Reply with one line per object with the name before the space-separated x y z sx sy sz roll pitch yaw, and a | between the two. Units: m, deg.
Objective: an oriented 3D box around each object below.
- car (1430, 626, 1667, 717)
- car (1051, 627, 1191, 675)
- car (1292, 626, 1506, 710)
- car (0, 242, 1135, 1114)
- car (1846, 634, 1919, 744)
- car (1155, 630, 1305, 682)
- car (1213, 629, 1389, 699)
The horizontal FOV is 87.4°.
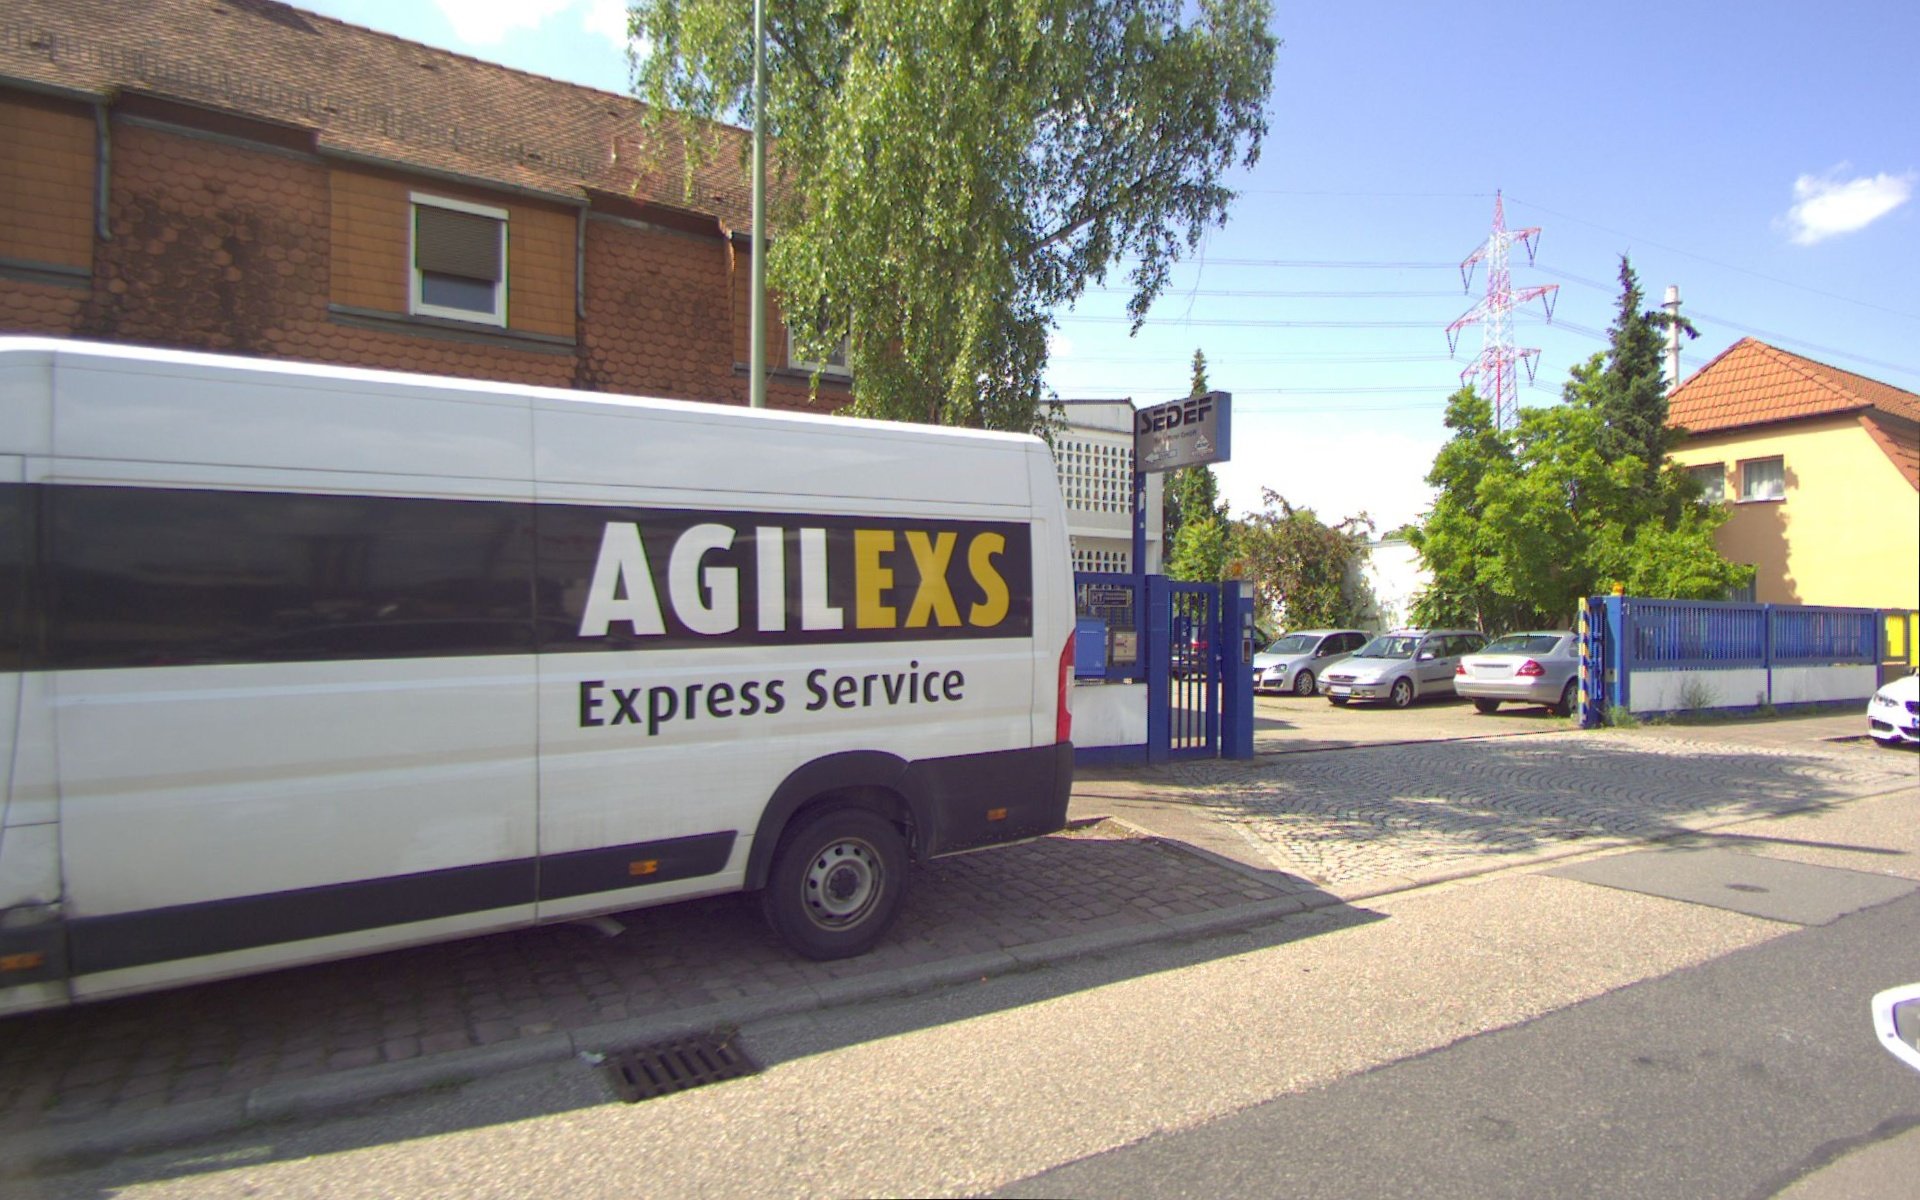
car | 10.807 1.254 18.415 4.090 1.482 1.859 1 -3 -28
car | 4.930 1.555 30.713 3.953 1.331 1.837 2 0 -30
car | 9.159 1.339 20.925 4.254 1.487 1.793 -1 -1 -27
car | -2.422 0.254 4.441 6.583 2.592 2.019 2 0 -32
car | 14.532 1.240 14.068 4.447 1.416 1.788 2 0 -29
car | 7.660 1.568 28.455 3.953 1.335 1.837 2 0 -30
car | 8.163 1.464 23.995 3.953 1.509 1.837 1 -1 -30
